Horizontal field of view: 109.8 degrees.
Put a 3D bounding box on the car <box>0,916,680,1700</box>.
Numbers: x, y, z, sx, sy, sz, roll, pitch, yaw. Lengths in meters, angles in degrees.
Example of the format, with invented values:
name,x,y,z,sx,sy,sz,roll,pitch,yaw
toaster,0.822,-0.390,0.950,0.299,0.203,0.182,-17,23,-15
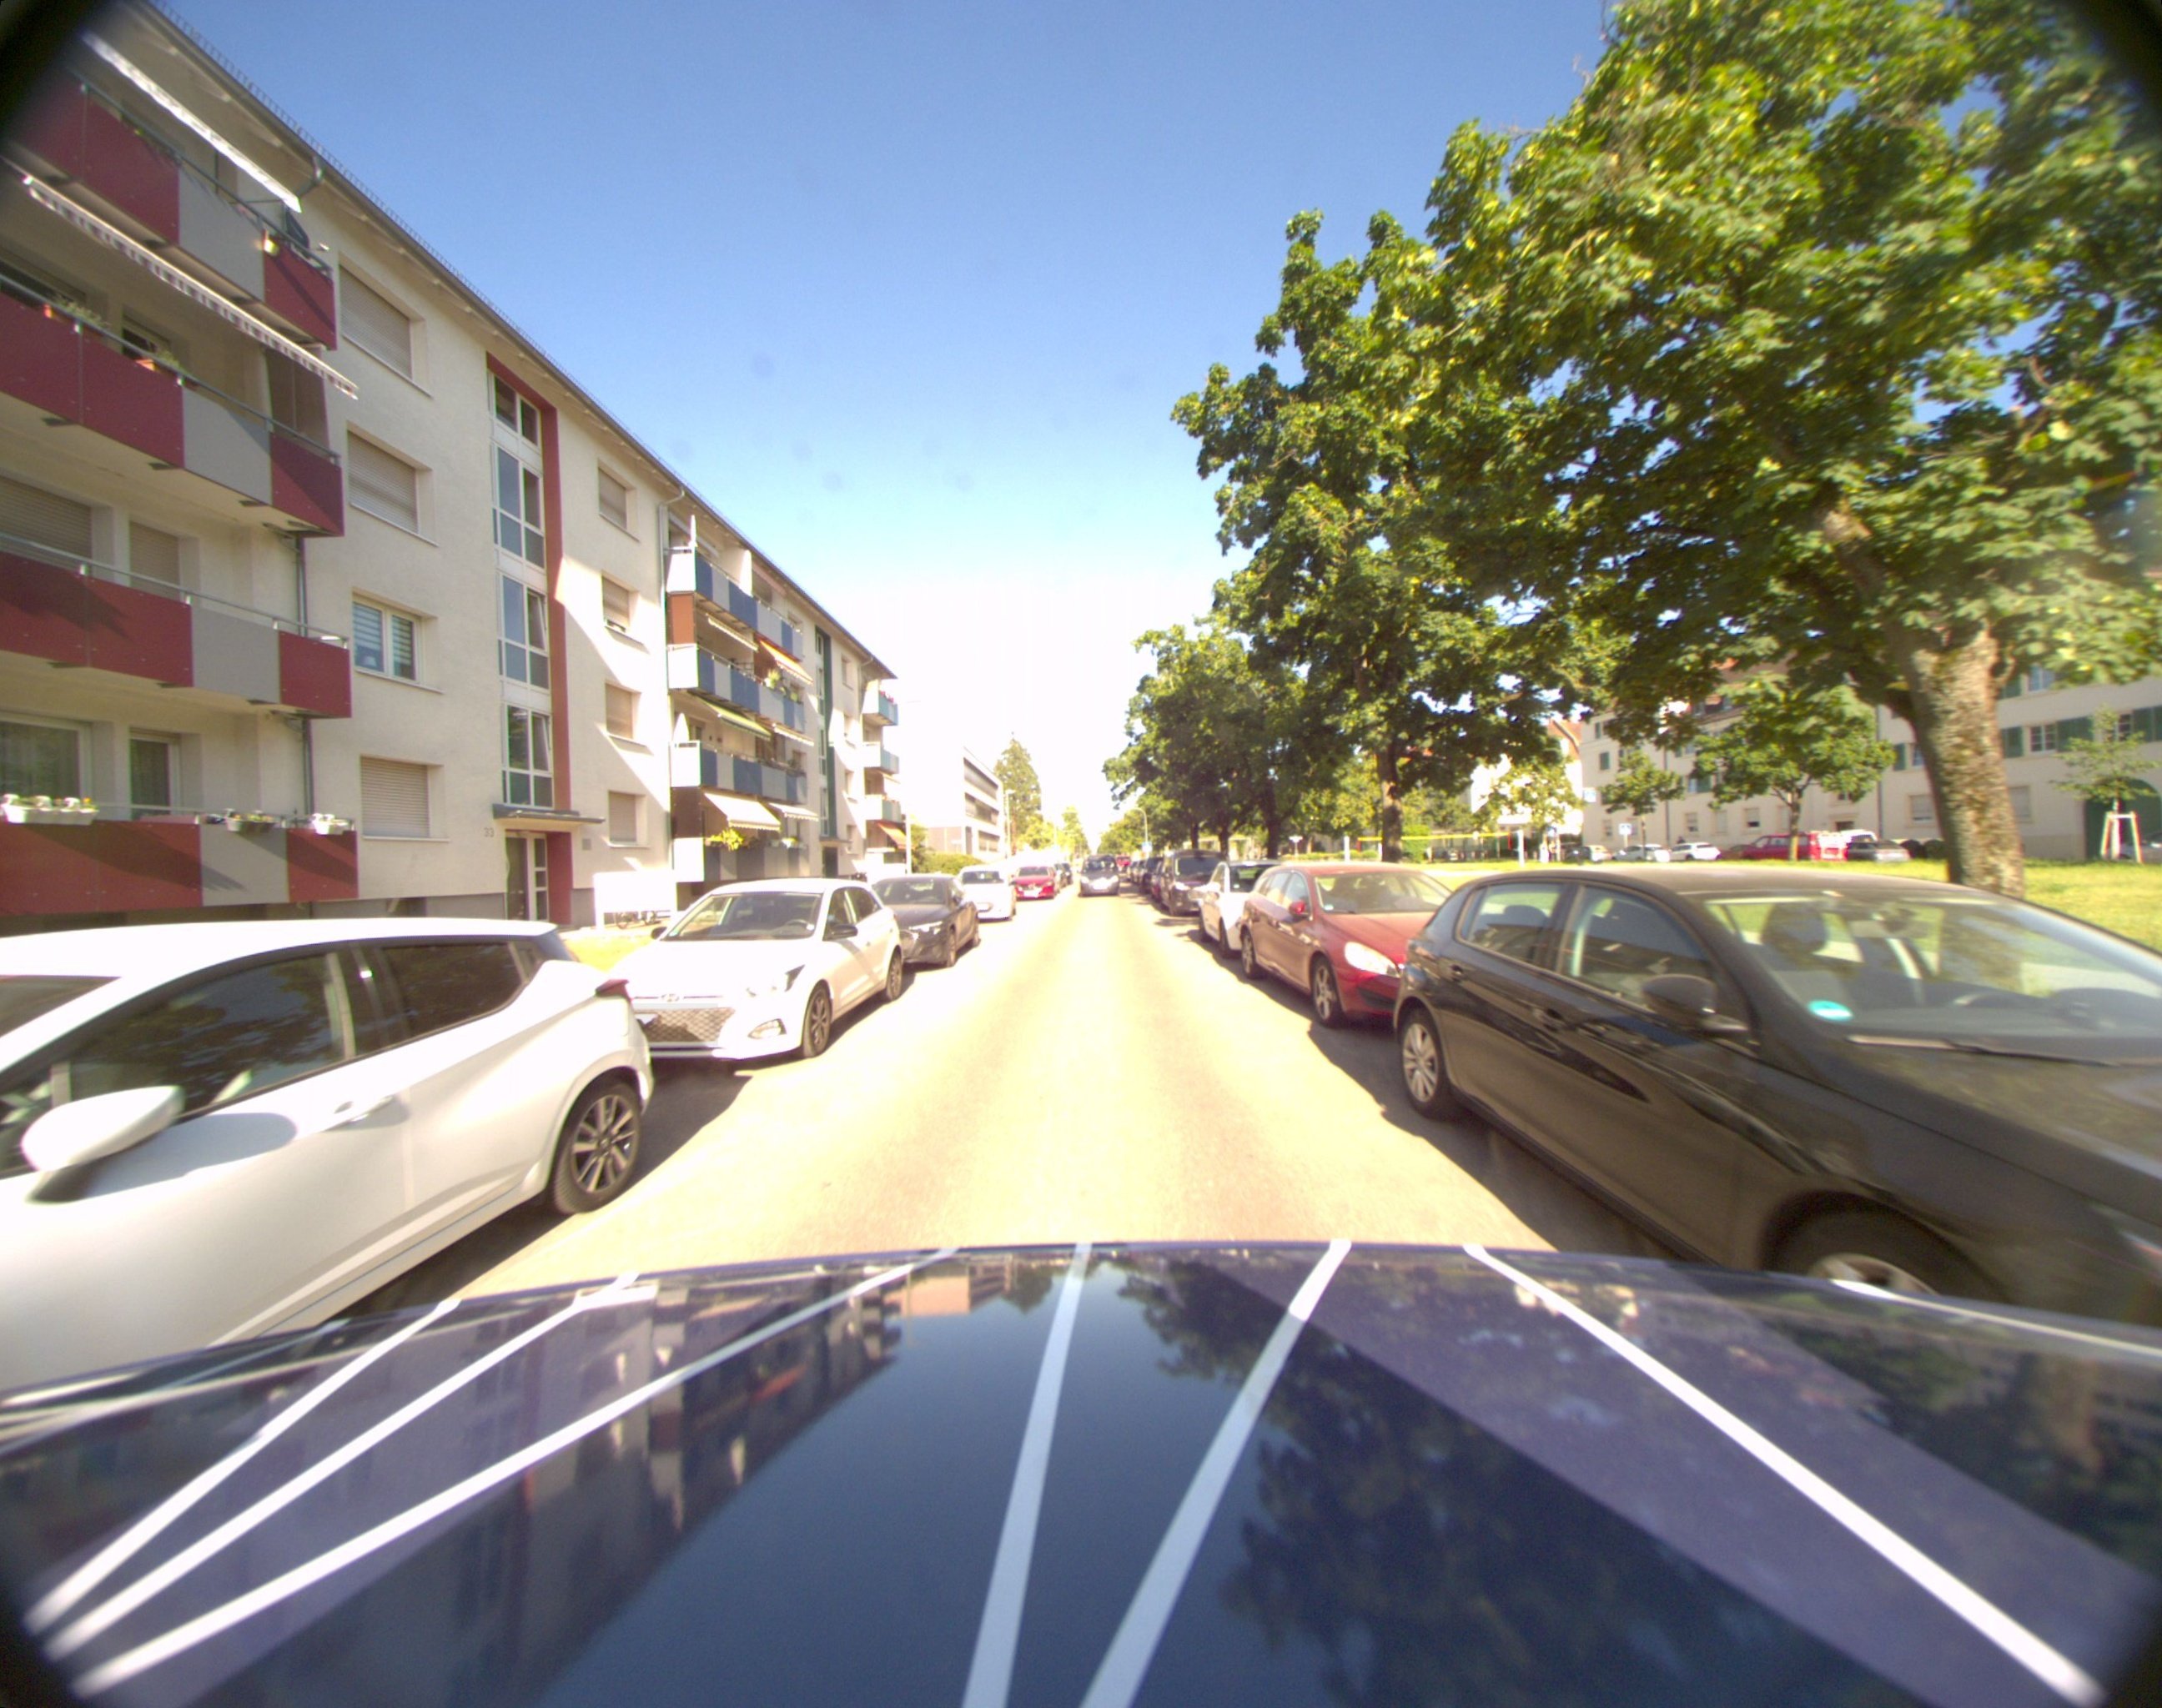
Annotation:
name,x,y,z,sx,sy,sz,roll,pitch,yaw
car,-3.251,1.099,2.154,1.882,1.466,4.140,-2,0,2

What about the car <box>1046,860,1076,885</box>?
name,x,y,z,sx,sy,sz,roll,pitch,yaw
car,-1.241,1.161,48.862,1.662,1.465,3.793,-3,0,2

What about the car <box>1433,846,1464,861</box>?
name,x,y,z,sx,sy,sz,roll,pitch,yaw
car,44.960,-0.028,92.926,1.954,1.783,4.001,-2,0,3

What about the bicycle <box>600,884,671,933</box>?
name,x,y,z,sx,sy,sz,roll,pitch,yaw
bicycle,-10.721,1.285,18.369,0.524,1.064,2.010,0,0,1

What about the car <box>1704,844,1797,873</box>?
name,x,y,z,sx,sy,sz,roll,pitch,yaw
car,44.114,0.294,50.218,1.999,1.753,4.644,-2,0,-1

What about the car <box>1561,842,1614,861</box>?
name,x,y,z,sx,sy,sz,roll,pitch,yaw
car,38.597,-0.164,58.005,1.654,1.325,3.515,-2,0,1

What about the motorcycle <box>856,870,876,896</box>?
name,x,y,z,sx,sy,sz,roll,pitch,yaw
motorcycle,-10.172,1.368,36.004,0.584,1.144,2.036,-2,0,-7

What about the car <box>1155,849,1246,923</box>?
name,x,y,z,sx,sy,sz,roll,pitch,yaw
car,3.208,0.771,21.343,1.869,1.774,4.991,-2,1,2

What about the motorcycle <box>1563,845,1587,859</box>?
name,x,y,z,sx,sy,sz,roll,pitch,yaw
motorcycle,47.675,-0.196,73.340,0.817,1.297,2.145,-2,0,0

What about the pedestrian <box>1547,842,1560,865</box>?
name,x,y,z,sx,sy,sz,roll,pitch,yaw
pedestrian,33.997,-0.030,54.663,0.544,1.675,0.674,-2,0,6

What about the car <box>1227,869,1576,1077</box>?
name,x,y,z,sx,sy,sz,roll,pitch,yaw
car,2.882,0.949,8.096,1.760,1.483,4.668,0,0,0

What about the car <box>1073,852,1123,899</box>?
name,x,y,z,sx,sy,sz,roll,pitch,yaw
car,0.693,0.871,31.947,1.902,1.779,4.157,-2,-1,1

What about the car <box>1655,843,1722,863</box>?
name,x,y,z,sx,sy,sz,roll,pitch,yaw
car,44.289,-0.097,55.506,1.773,1.348,4.000,-2,0,1

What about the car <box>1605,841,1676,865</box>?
name,x,y,z,sx,sy,sz,roll,pitch,yaw
car,38.662,-0.069,52.654,1.793,1.574,4.236,-2,0,1

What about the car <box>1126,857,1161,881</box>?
name,x,y,z,sx,sy,sz,roll,pitch,yaw
car,4.049,0.936,50.091,1.840,1.444,4.968,-2,0,-1

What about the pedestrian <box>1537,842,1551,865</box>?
name,x,y,z,sx,sy,sz,roll,pitch,yaw
pedestrian,33.271,-0.043,54.559,0.544,1.675,0.750,-2,0,3

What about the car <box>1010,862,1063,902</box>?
name,x,y,z,sx,sy,sz,roll,pitch,yaw
car,-1.823,1.144,32.450,1.848,1.464,5.065,-2,0,1

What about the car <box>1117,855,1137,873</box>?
name,x,y,z,sx,sy,sz,roll,pitch,yaw
car,5.122,1.050,84.517,2.021,1.867,4.742,-2,0,5

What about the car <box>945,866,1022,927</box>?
name,x,y,z,sx,sy,sz,roll,pitch,yaw
car,-2.667,1.127,21.537,1.752,1.490,3.860,-1,0,-2

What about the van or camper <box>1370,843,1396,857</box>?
name,x,y,z,sx,sy,sz,roll,pitch,yaw
van or camper,45.510,-0.622,114.633,2.273,2.002,4.374,-2,0,2

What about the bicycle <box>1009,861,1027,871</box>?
name,x,y,z,sx,sy,sz,roll,pitch,yaw
bicycle,-7.691,1.463,92.883,2.029,1.057,0.883,1,0,1

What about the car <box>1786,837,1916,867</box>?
name,x,y,z,sx,sy,sz,roll,pitch,yaw
car,41.212,-0.097,40.865,1.998,1.476,4.958,-1,0,1

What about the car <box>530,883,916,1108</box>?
name,x,y,z,sx,sy,sz,roll,pitch,yaw
car,-3.024,1.102,7.527,1.725,1.427,4.153,-1,0,2

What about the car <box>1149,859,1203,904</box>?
name,x,y,z,sx,sy,sz,roll,pitch,yaw
car,3.362,0.941,27.431,1.541,1.420,4.088,-2,0,2

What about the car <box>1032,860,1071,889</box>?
name,x,y,z,sx,sy,sz,roll,pitch,yaw
car,-1.640,1.118,43.396,1.774,1.520,4.558,-2,0,3

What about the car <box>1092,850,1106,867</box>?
name,x,y,z,sx,sy,sz,roll,pitch,yaw
car,2.916,0.678,121.989,2.074,2.583,6.204,-2,0,3

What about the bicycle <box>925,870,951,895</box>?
name,x,y,z,sx,sy,sz,roll,pitch,yaw
bicycle,-6.777,1.338,36.098,0.721,1.071,1.897,-2,0,3

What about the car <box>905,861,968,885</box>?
name,x,y,z,sx,sy,sz,roll,pitch,yaw
car,-11.045,1.430,58.277,4.418,1.614,1.914,-2,0,-1

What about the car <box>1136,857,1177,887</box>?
name,x,y,z,sx,sy,sz,roll,pitch,yaw
car,3.882,0.906,39.427,1.884,1.410,3.803,-1,1,2

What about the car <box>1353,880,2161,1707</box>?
name,x,y,z,sx,sy,sz,roll,pitch,yaw
car,2.768,0.931,2.927,1.878,1.510,4.470,0,0,0

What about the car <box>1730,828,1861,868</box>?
name,x,y,z,sx,sy,sz,roll,pitch,yaw
car,38.707,-0.280,41.374,2.226,1.973,5.258,-2,0,1

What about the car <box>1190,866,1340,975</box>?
name,x,y,z,sx,sy,sz,roll,pitch,yaw
car,2.858,0.971,12.542,1.590,1.484,3.685,0,0,0

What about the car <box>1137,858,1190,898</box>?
name,x,y,z,sx,sy,sz,roll,pitch,yaw
car,3.572,0.989,33.697,2.030,1.616,4.758,-1,0,3

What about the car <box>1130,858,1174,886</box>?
name,x,y,z,sx,sy,sz,roll,pitch,yaw
car,4.098,1.011,44.490,1.999,1.507,5.157,-1,0,-1

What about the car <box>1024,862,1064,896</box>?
name,x,y,z,sx,sy,sz,roll,pitch,yaw
car,-1.824,1.205,38.325,1.878,1.525,4.492,-2,0,-2

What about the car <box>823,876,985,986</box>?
name,x,y,z,sx,sy,sz,roll,pitch,yaw
car,-2.779,1.147,12.954,1.703,1.427,4.471,0,0,0

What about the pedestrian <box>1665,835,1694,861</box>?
name,x,y,z,sx,sy,sz,roll,pitch,yaw
pedestrian,46.772,-0.443,59.383,1.343,1.952,1.163,-2,0,-4

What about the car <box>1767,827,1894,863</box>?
name,x,y,z,sx,sy,sz,roll,pitch,yaw
car,44.137,-0.492,44.966,2.226,1.973,5.257,-2,0,-1

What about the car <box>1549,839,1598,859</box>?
name,x,y,z,sx,sy,sz,roll,pitch,yaw
car,52.073,-0.549,80.454,3.812,1.944,2.043,-2,0,3

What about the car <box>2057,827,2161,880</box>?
name,x,y,z,sx,sy,sz,roll,pitch,yaw
car,38.350,-0.043,26.224,2.456,1.809,5.454,-2,0,3
